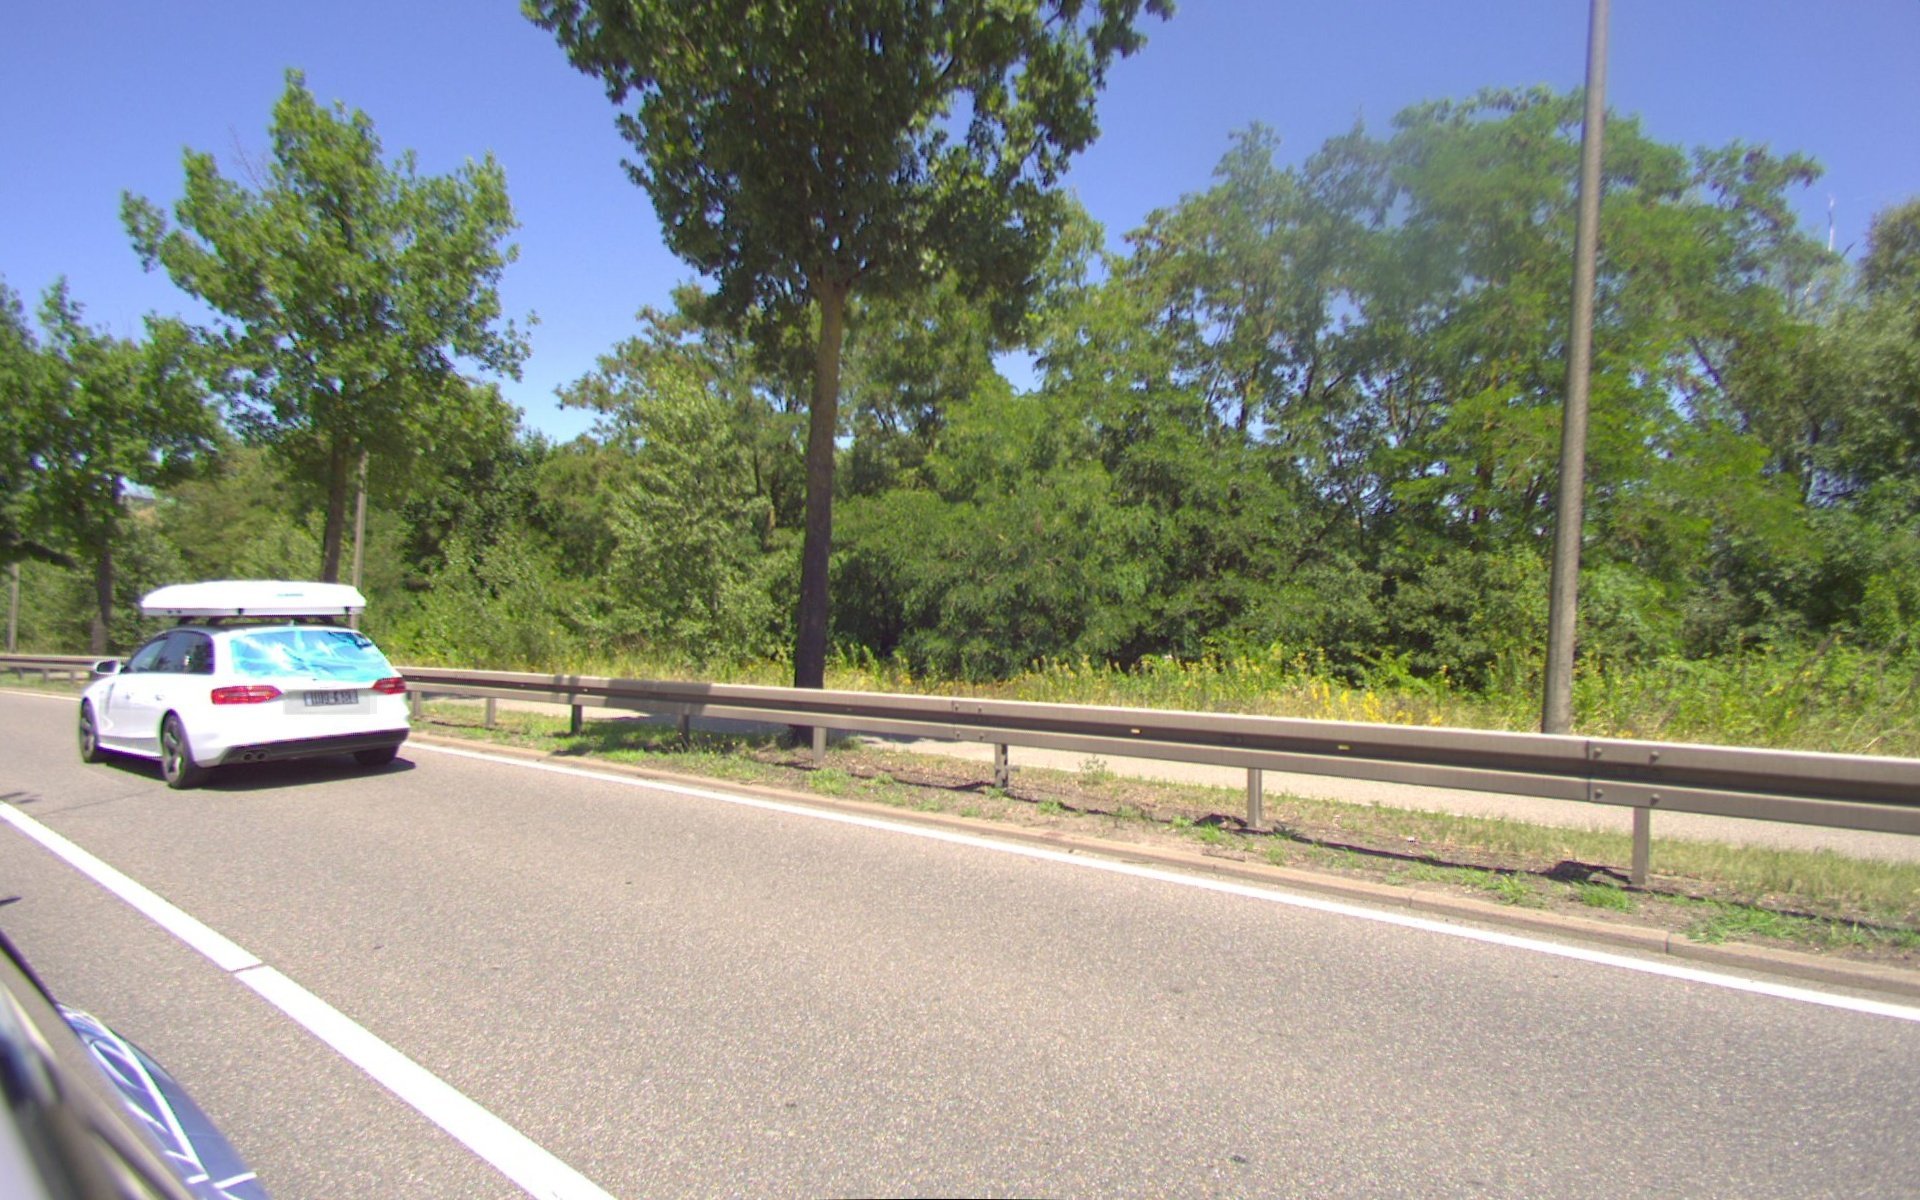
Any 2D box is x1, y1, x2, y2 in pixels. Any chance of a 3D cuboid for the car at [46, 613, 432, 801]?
[{"bbox_3d":[-7.206,0.877,9.956,4.457,1.432,1.803,-1,0,36],"label":"car"}]
